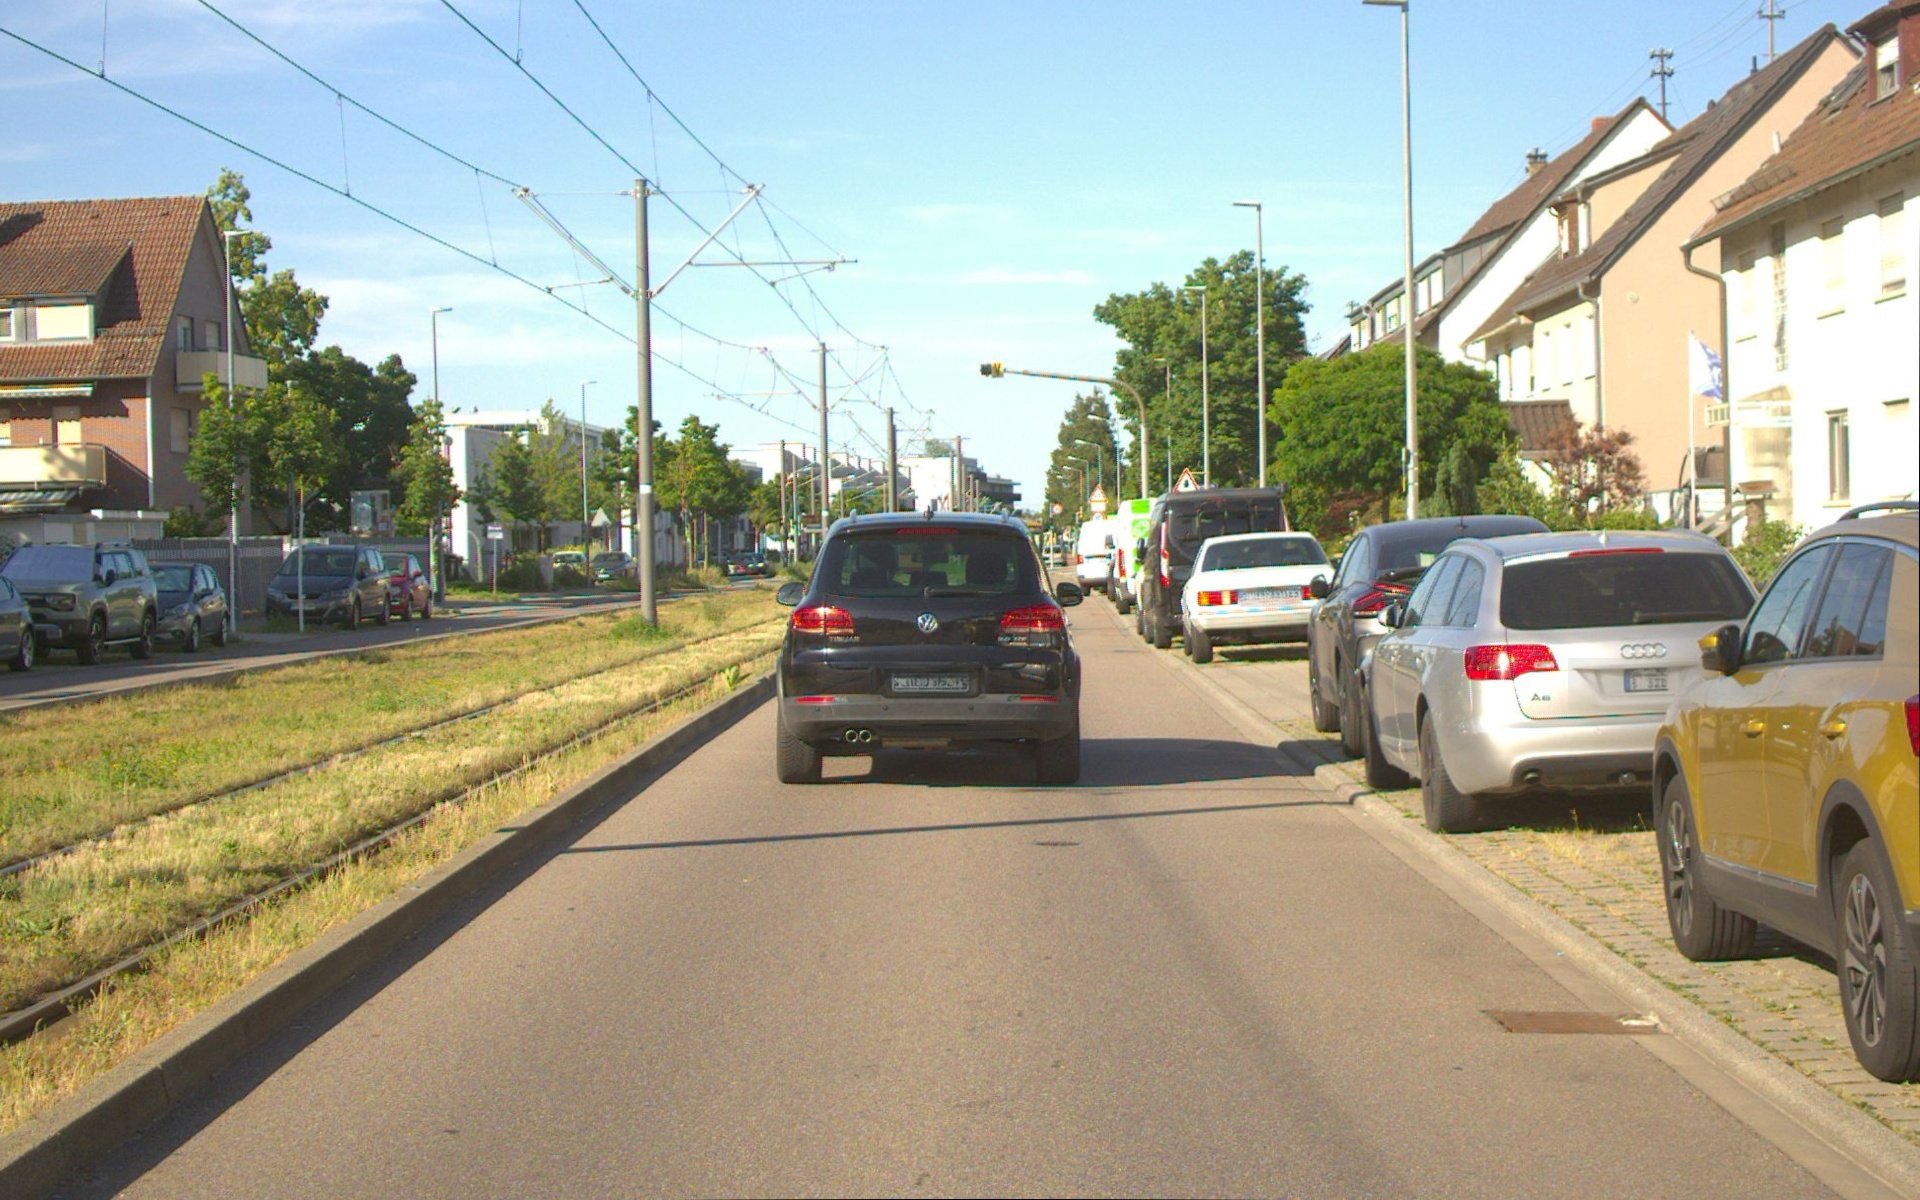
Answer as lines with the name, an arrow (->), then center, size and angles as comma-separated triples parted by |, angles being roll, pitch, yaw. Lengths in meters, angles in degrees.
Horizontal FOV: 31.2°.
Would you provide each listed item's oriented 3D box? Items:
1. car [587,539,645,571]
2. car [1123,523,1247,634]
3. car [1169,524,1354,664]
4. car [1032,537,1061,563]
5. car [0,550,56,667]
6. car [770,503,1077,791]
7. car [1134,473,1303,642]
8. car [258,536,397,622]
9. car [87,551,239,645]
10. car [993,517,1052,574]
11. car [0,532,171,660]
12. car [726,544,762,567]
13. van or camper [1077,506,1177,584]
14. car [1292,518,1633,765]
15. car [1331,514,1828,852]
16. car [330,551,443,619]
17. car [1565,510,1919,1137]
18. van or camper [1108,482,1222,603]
car -> -15.670, -2.064, 156.838 | 1.811, 1.456, 4.316 | 0, 1, 6
car -> 3.577, -0.372, 55.216 | 1.725, 1.640, 4.319 | -2, 1, 1
car -> 3.517, -0.127, 40.910 | 1.853, 1.439, 5.613 | -3, 1, 2
car -> 5.865, -3.407, 233.959 | 1.775, 1.664, 4.000 | -1, 1, -1
car -> -13.643, 0.102, 45.727 | 1.960, 1.535, 4.557 | 0, 1, 1
car -> -0.232, 0.244, 21.942 | 1.775, 1.664, 4.000 | 0, 1, -1
car -> 3.512, -0.604, 47.563 | 1.960, 2.137, 5.335 | -2, 1, 1
car -> -12.973, -0.459, 70.755 | 1.819, 1.678, 4.846 | 1, 1, 2
car -> -13.372, -0.062, 57.858 | 1.676, 1.485, 4.050 | 1, 1, -1
car -> 2.053, -1.807, 113.656 | 1.627, 1.822, 4.131 | -2, 1, -3
car -> -13.374, -0.105, 51.793 | 1.745, 1.816, 4.841 | 1, 1, 1
car -> -13.824, -2.875, 220.155 | 1.688, 1.384, 4.387 | -3, 1, 3
van or camper -> 4.454, -1.475, 90.891 | 2.028, 1.949, 5.293 | -1, 1, 9
car -> 3.361, 0.202, 23.804 | 1.777, 1.493, 4.728 | -2, 1, 2
car -> 3.117, 0.324, 18.222 | 1.748, 1.442, 4.699 | -2, 2, 0
car -> -12.776, -0.354, 76.766 | 1.695, 1.400, 4.078 | -1, 1, 2
car -> 3.278, 0.484, 10.966 | 1.805, 1.553, 4.927 | -2, 1, 0
van or camper -> 4.119, -1.170, 70.036 | 1.993, 2.263, 6.305 | -3, 1, 1
